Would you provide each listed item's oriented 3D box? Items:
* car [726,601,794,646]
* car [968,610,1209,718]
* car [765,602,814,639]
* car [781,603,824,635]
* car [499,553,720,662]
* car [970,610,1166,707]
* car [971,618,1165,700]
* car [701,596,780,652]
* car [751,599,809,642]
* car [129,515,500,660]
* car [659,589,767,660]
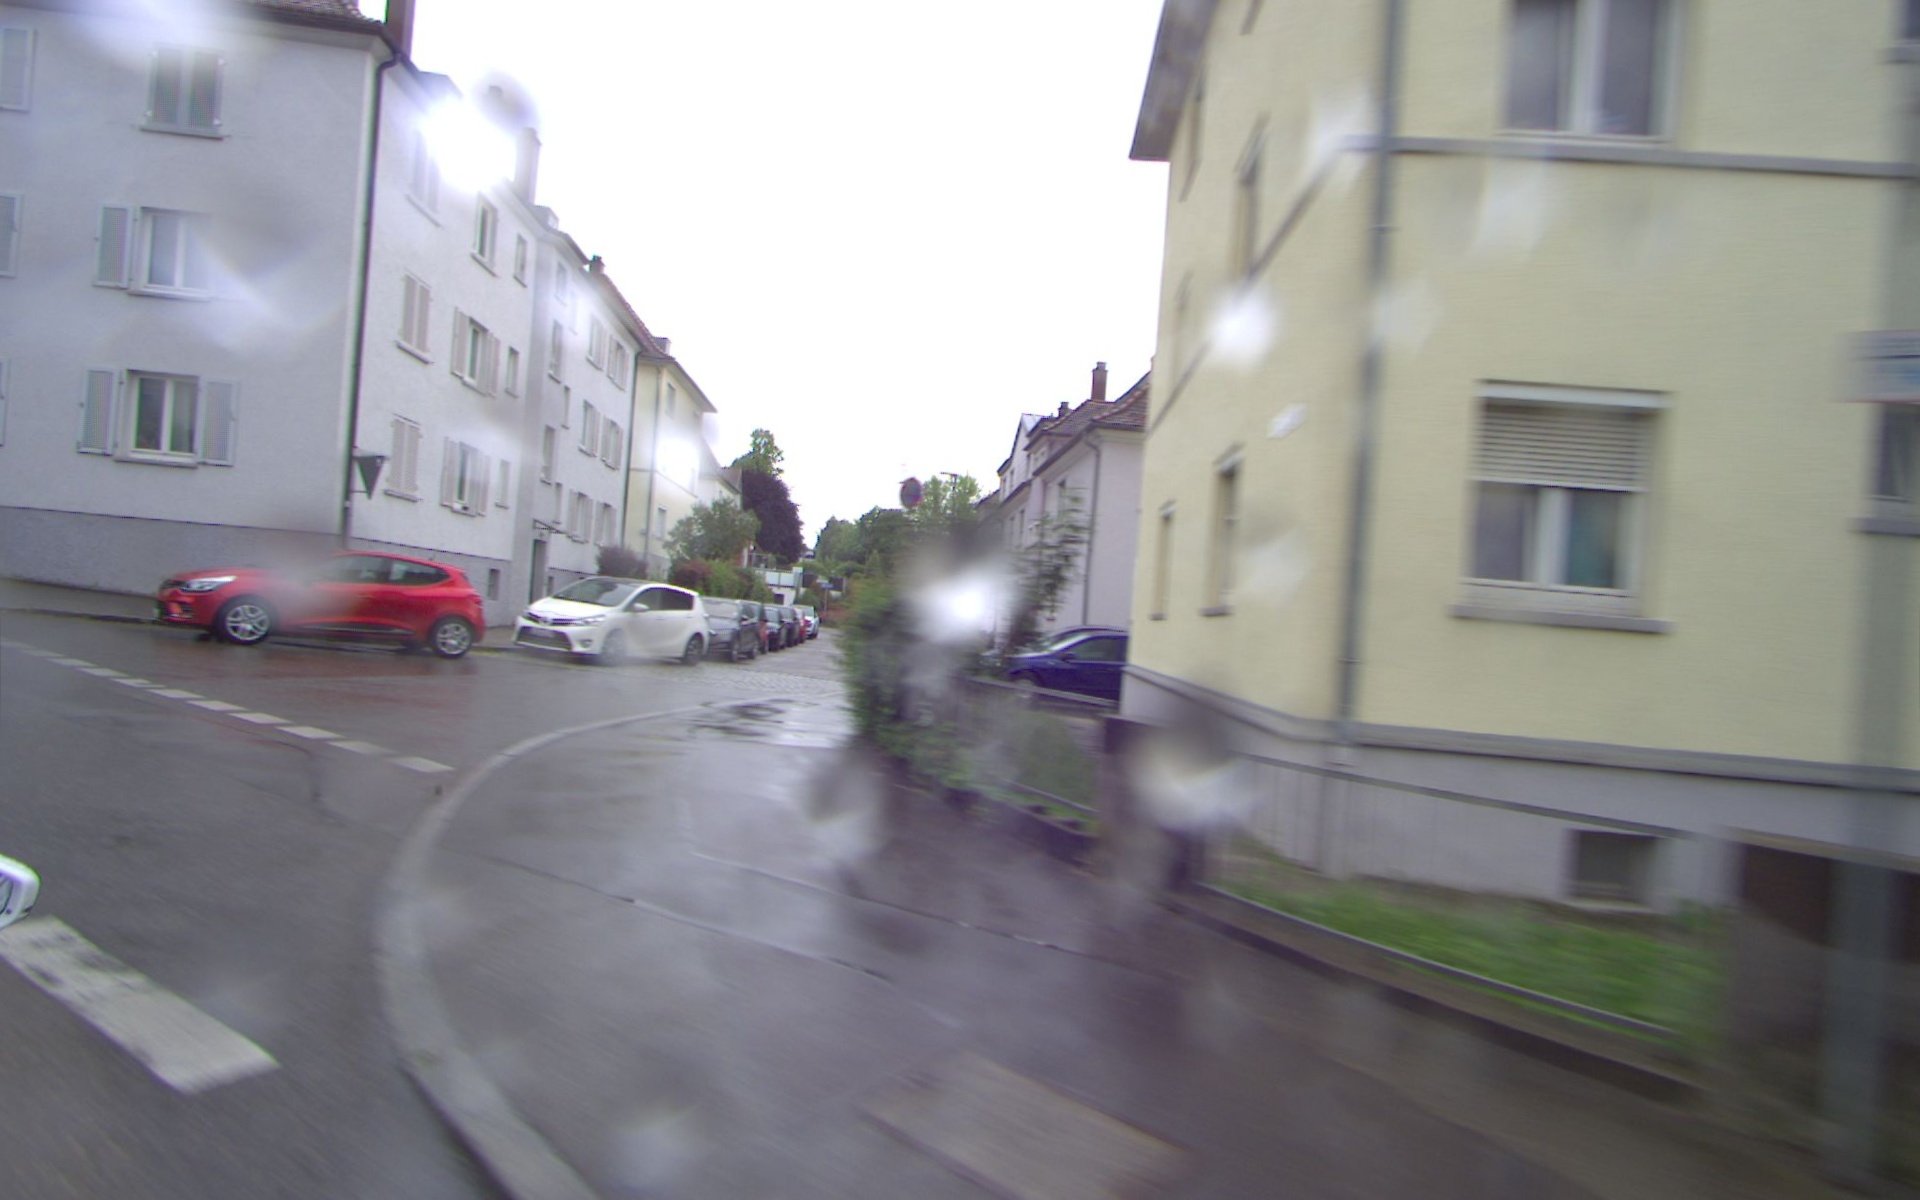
[{"bbox_3d":[-6.730,0.796,34.179,1.642,1.230,3.432,8,-2,-3],"label":"car"},{"bbox_3d":[2.156,1.097,17.700,3.898,1.462,1.725,5,-1,-1],"label":"car"},{"bbox_3d":[-7.573,0.935,44.916,1.642,1.374,3.432,8,-2,-3],"label":"car"},{"bbox_3d":[-8.049,1.004,51.678,1.642,1.374,3.432,8,-2,-3],"label":"car"},{"bbox_3d":[-6.551,0.236,19.377,1.692,1.607,4.245,8,-2,17],"label":"car"},{"bbox_3d":[2.091,1.150,20.188,3.613,1.518,1.725,5,-1,-1],"label":"car"},{"bbox_3d":[2.369,1.305,22.734,4.019,1.425,1.724,5,-1,-3],"label":"car"},{"bbox_3d":[-6.501,0.724,30.114,1.642,1.349,3.432,8,-2,-3],"label":"car"},{"bbox_3d":[-6.928,0.793,38.972,1.642,1.374,3.432,8,-2,-3],"label":"car"},{"bbox_3d":[-9.088,-0.115,14.438,1.701,1.424,4.077,7,-2,42],"label":"car"},{"bbox_3d":[-6.008,0.614,24.949,1.694,1.380,4.240,8,-2,-3],"label":"car"}]
